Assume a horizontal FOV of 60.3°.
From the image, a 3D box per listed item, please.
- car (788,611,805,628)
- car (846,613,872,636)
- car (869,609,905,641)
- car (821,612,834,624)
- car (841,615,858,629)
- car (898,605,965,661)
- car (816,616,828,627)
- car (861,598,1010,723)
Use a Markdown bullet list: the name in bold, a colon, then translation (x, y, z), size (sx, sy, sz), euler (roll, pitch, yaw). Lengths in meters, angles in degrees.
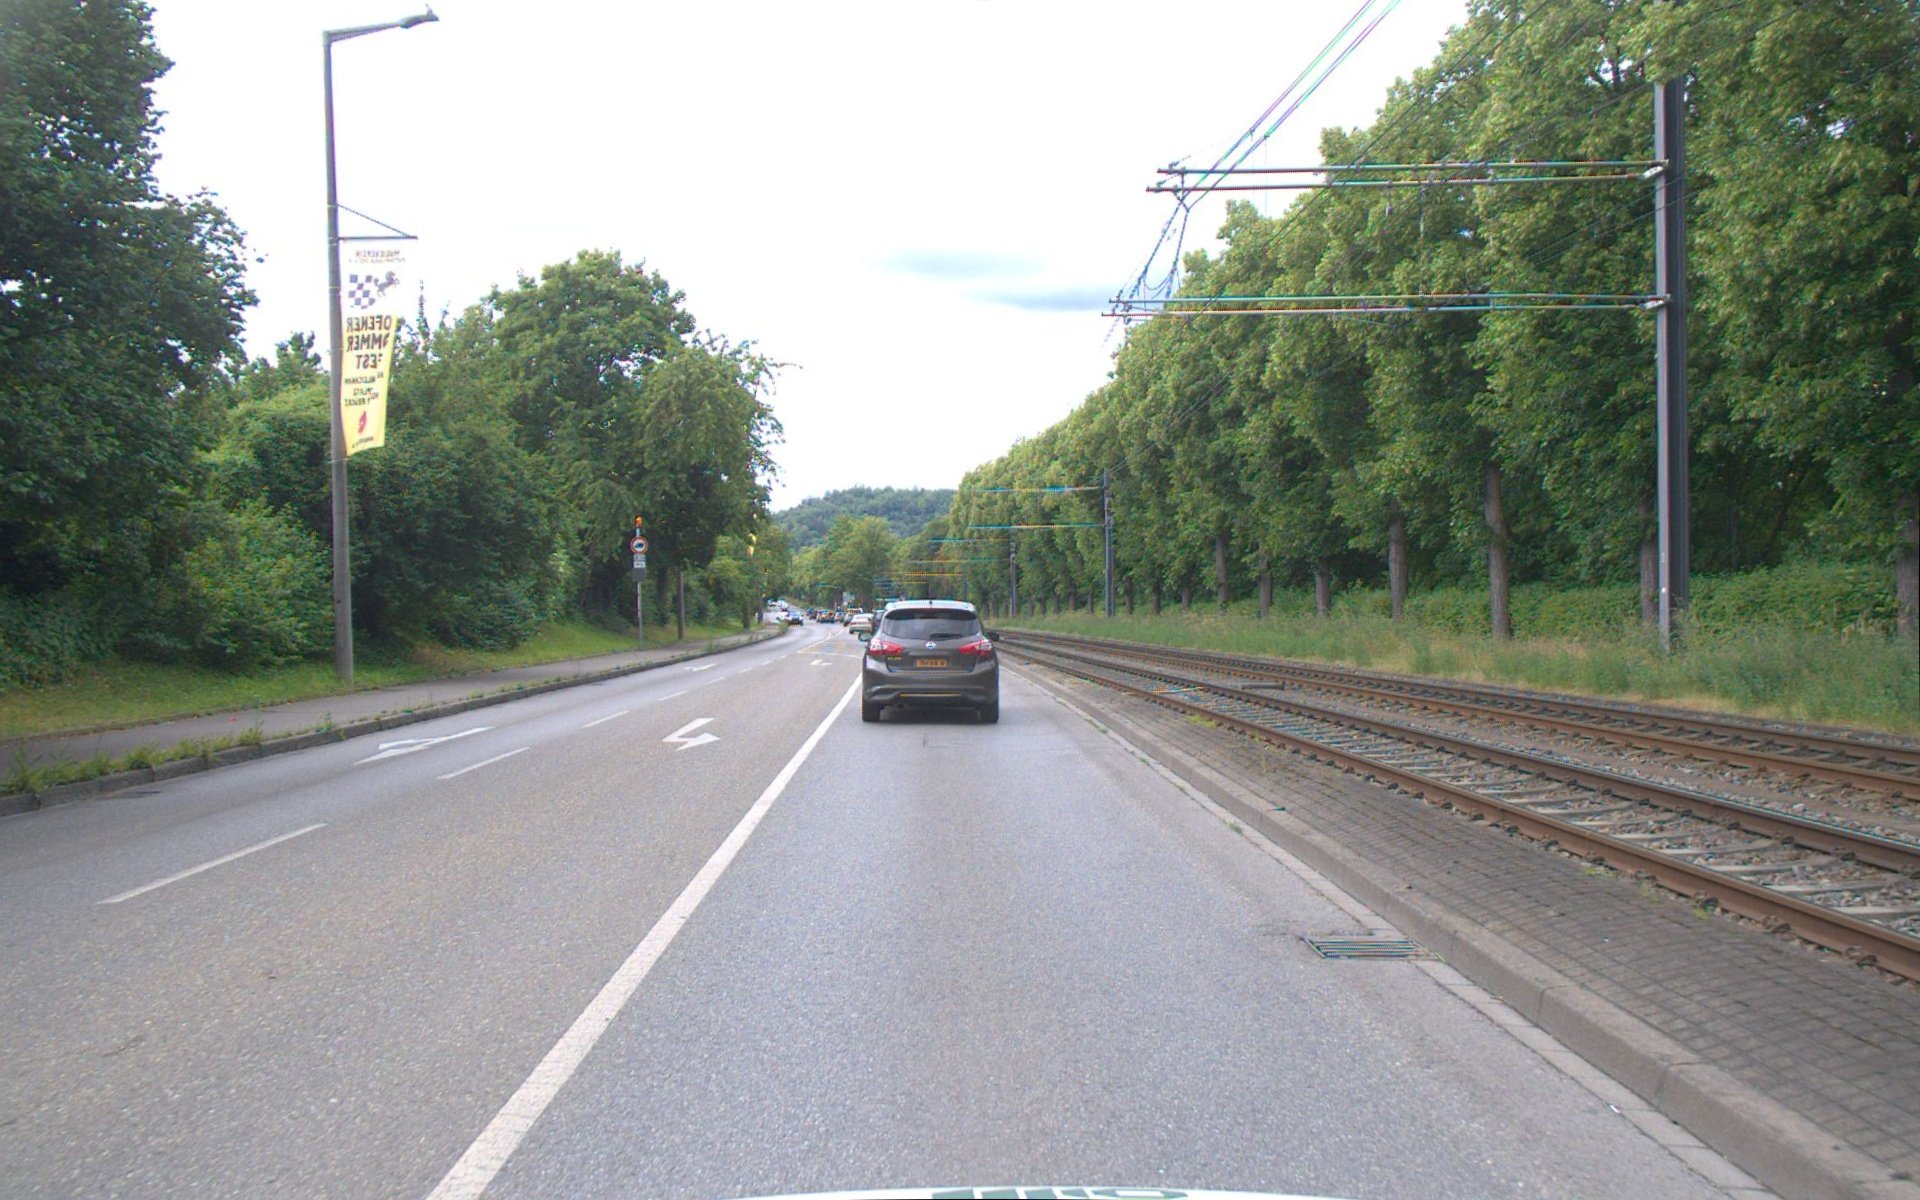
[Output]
- **car**: translation (-21.210, 2.549, 214.711), size (1.954, 2.072, 5.110), euler (-1, -1, -5)
- **car**: translation (-6.805, 1.658, 111.981), size (1.666, 1.469, 3.998), euler (0, -1, -2)
- **car**: translation (-3.475, 1.168, 78.437), size (1.666, 1.469, 3.998), euler (0, -1, -2)
- **car**: translation (-19.337, 2.599, 241.797), size (1.666, 1.744, 3.998), euler (0, -1, -2)
- **car**: translation (-11.754, 2.354, 175.936), size (1.758, 1.537, 3.998), euler (0, -1, -2)
- **car**: translation (-0.818, 0.880, 45.062), size (1.666, 1.469, 3.997), euler (0, -1, -4)
- **car**: translation (-21.324, 3.327, 256.448), size (1.666, 1.744, 3.998), euler (0, -1, -2)
- **car**: translation (-0.334, 0.731, 22.149), size (1.813, 1.519, 3.999), euler (0, 0, -1)
